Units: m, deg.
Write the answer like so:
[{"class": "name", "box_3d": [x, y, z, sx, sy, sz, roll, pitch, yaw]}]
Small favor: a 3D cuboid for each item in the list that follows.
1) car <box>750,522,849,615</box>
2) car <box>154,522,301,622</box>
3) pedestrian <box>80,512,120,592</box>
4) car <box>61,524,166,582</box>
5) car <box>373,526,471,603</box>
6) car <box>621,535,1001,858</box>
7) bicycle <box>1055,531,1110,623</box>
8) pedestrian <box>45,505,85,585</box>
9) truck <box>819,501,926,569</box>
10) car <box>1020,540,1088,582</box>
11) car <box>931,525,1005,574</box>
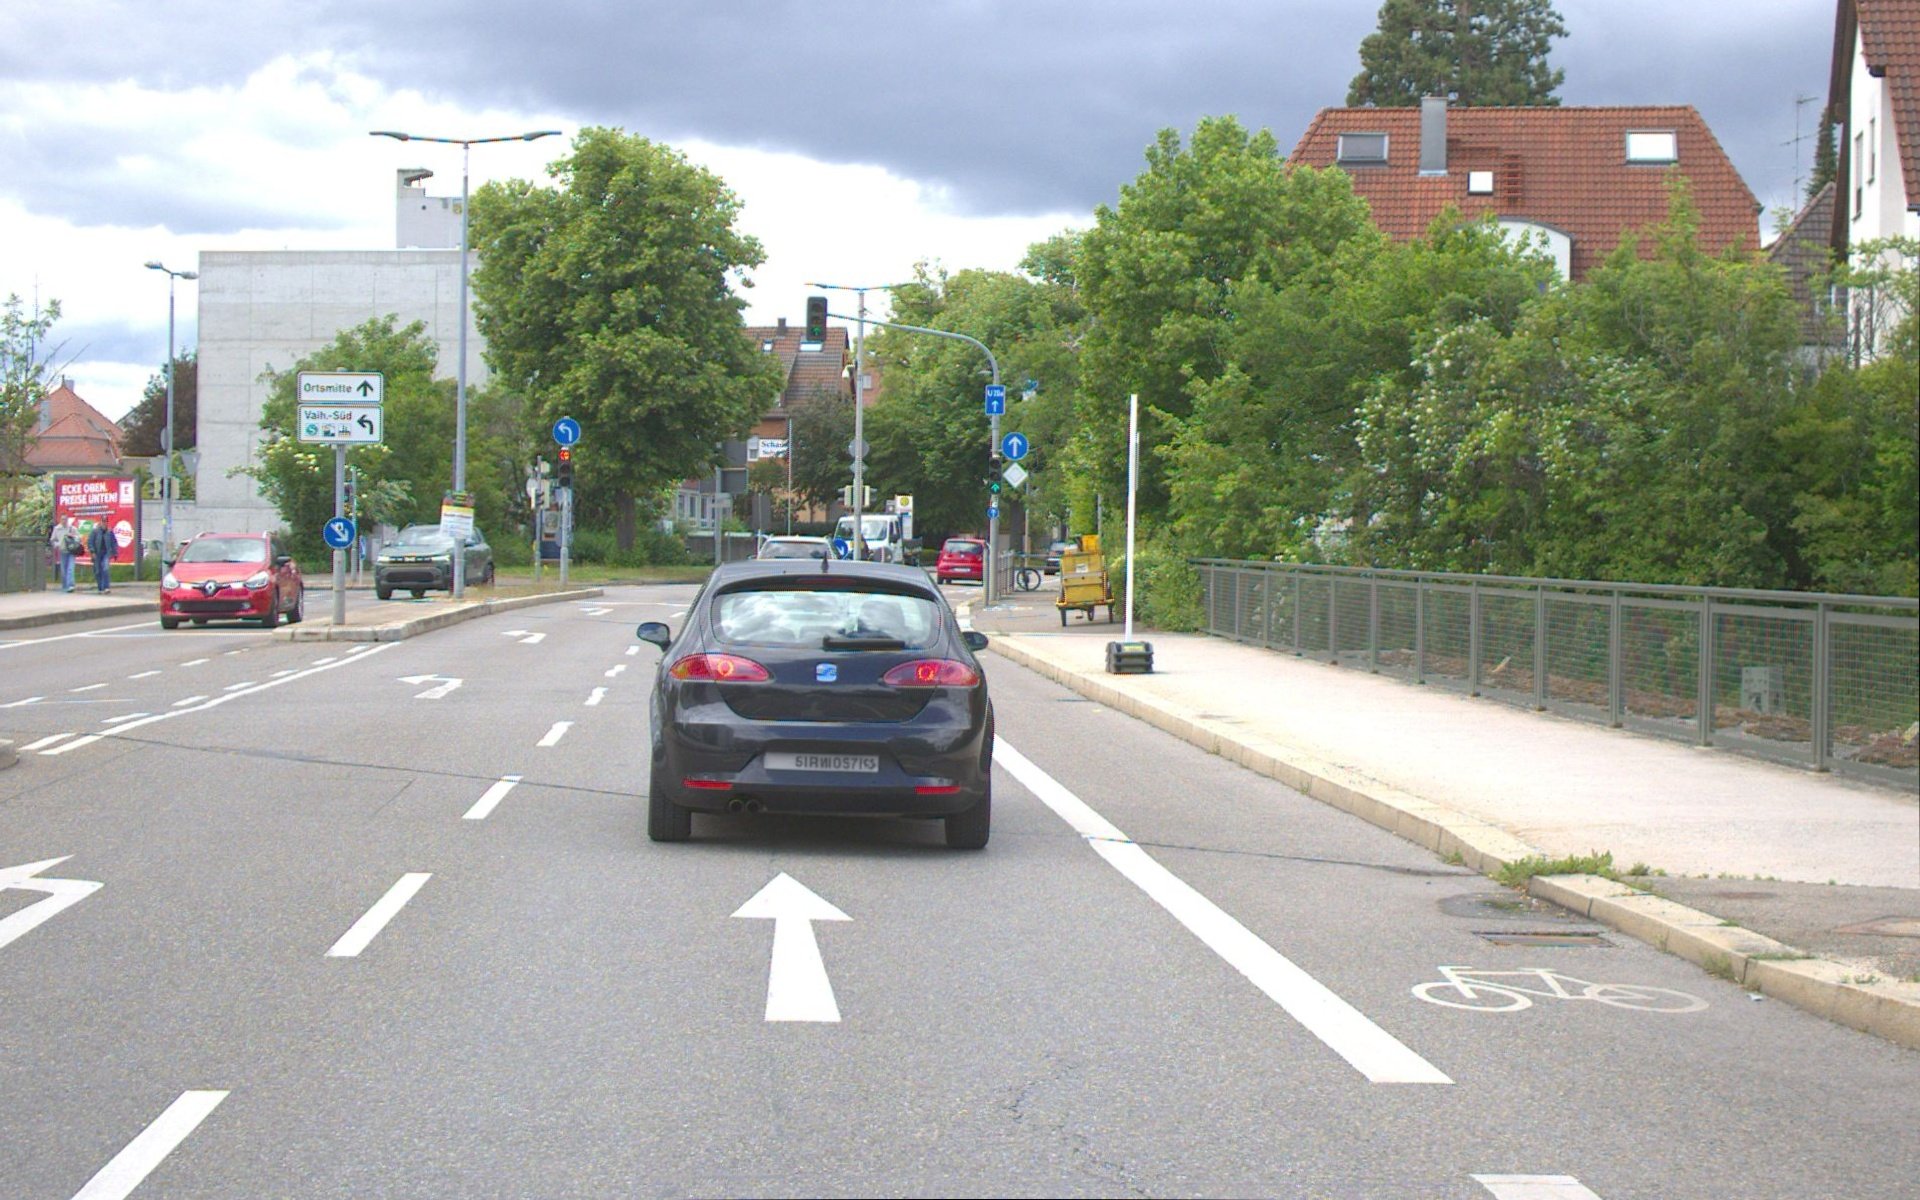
[{"class": "car", "box_3d": [-3.019, -0.630, 65.391, 1.819, 1.693, 4.253, 0, 1, -2]}, {"class": "car", "box_3d": [-11.325, -0.451, 53.392, 1.720, 1.443, 4.067, 1, 1, -5]}, {"class": "pedestrian", "box_3d": [-17.799, -0.992, 71.168, 0.656, 1.628, 1.071, 2, 1, -9]}, {"class": "car", "box_3d": [-31.815, -1.761, 129.309, 1.995, 2.007, 3.997, 4, 1, 16]}, {"class": "car", "box_3d": [-11.683, -0.790, 74.846, 1.822, 1.621, 4.280, 0, 1, -5]}, {"class": "car", "box_3d": [-0.708, 0.430, 18.398, 1.759, 1.444, 3.714, 3, 1, 0]}, {"class": "bicycle", "box_3d": [2.070, -0.410, 57.822, 0.891, 1.505, 2.783, 0, 1, 2]}, {"class": "pedestrian", "box_3d": [-18.518, -1.132, 71.131, 0.656, 1.628, 0.833, 2, 1, -9]}, {"class": "truck", "box_3d": [-2.969, -2.230, 118.672, 2.127, 2.257, 6.802, 1, 1, 12]}, {"class": "car", "box_3d": [3.862, -1.609, 140.673, 1.995, 1.678, 3.998, 1, 1, 13]}, {"class": "car", "box_3d": [0.234, -1.603, 107.810, 1.941, 1.476, 4.254, 0, 1, -5]}]
